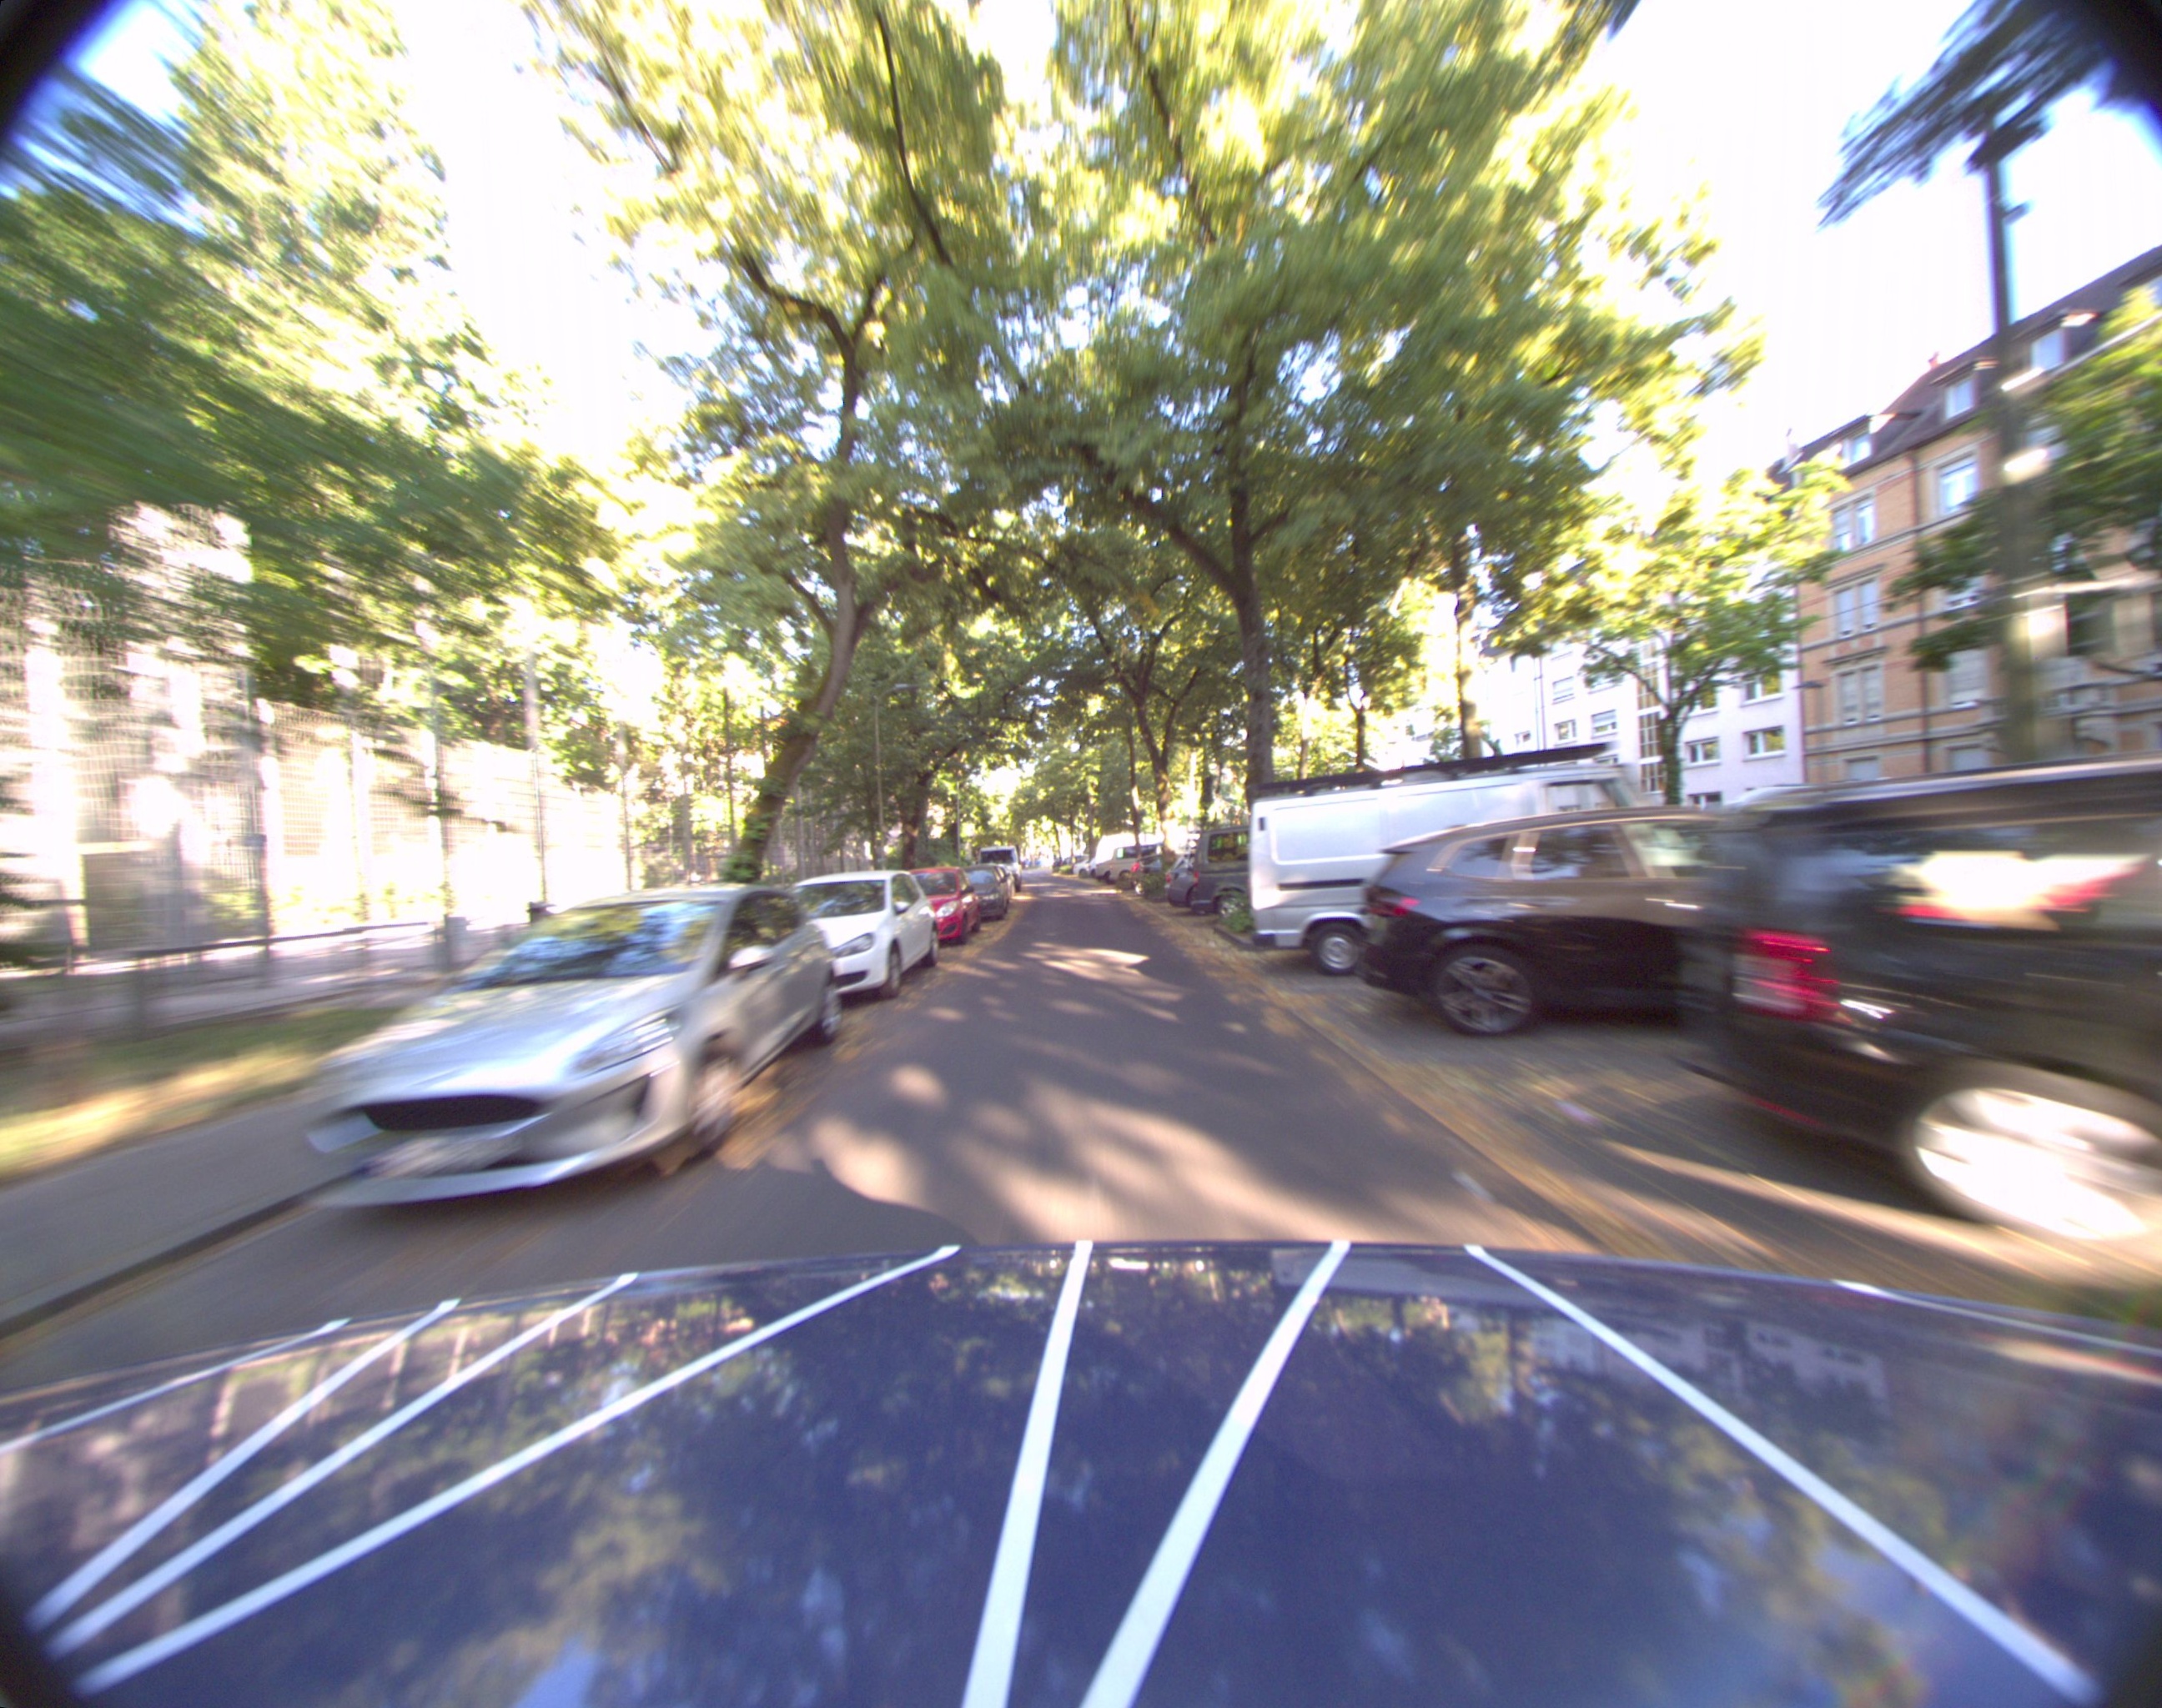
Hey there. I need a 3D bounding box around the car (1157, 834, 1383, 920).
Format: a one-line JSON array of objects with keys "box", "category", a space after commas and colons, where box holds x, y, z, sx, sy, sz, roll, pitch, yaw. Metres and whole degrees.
[{"box": [4.303, 0.552, 17.488, 4.561, 1.532, 1.937, -5, 1, 32], "category": "car"}]

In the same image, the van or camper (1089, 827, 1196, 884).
[{"box": [3.161, 0.091, 39.075, 4.875, 2.456, 2.048, -5, 1, 25], "category": "van or camper"}]

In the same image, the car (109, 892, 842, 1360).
[{"box": [-2.909, 1.119, 4.933, 1.685, 1.445, 4.074, -3, 0, -5], "category": "car"}]

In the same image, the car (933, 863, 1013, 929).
[{"box": [-2.804, 1.055, 20.497, 1.677, 1.445, 3.948, -3, 0, -2], "category": "car"}]

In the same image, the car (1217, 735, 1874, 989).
[{"box": [4.606, 0.243, 8.550, 5.502, 2.125, 2.084, -5, 1, 29], "category": "car"}]

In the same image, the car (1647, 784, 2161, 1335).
[{"box": [4.783, 0.509, 2.431, 4.509, 1.607, 1.857, -5, 1, 31], "category": "car"}]

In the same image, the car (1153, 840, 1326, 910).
[{"box": [4.216, 0.574, 20.333, 4.084, 1.479, 1.786, -5, 1, 30], "category": "car"}]

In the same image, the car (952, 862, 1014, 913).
[{"box": [-3.241, 1.078, 25.735, 1.677, 1.445, 3.948, -3, 0, -2], "category": "car"}]

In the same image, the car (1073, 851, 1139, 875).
[{"box": [1.865, 0.678, 57.278, 4.456, 1.396, 1.859, -5, 0, 24], "category": "car"}]

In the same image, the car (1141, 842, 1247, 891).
[{"box": [4.377, 0.480, 29.413, 3.543, 1.485, 1.828, -5, 1, 28], "category": "car"}]

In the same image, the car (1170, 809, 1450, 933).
[{"box": [4.366, 0.362, 14.726, 4.702, 1.931, 1.937, -5, 1, 32], "category": "car"}]

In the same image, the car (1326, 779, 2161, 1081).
[{"box": [4.359, 0.548, 5.724, 4.510, 1.607, 1.937, -5, 1, 23], "category": "car"}]

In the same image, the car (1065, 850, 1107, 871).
[{"box": [0.466, 0.596, 68.965, 3.347, 1.559, 1.574, -5, 0, 22], "category": "car"}]

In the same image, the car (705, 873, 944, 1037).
[{"box": [-2.971, 1.076, 9.754, 1.685, 1.445, 4.075, -3, 0, -1], "category": "car"}]

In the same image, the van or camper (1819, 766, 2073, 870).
[{"box": [28.612, -1.082, 25.525, 2.080, 3.091, 5.512, -1, 0, -3], "category": "van or camper"}]

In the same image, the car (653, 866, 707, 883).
[{"box": [-35.816, 1.791, 67.901, 4.007, 1.401, 1.795, -1, 0, -37], "category": "car"}]

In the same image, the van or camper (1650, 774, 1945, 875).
[{"box": [19.694, -0.734, 21.295, 5.664, 2.454, 2.003, -2, 1, 23], "category": "van or camper"}]

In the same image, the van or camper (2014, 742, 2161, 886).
[{"box": [20.183, -0.737, 12.561, 5.538, 2.357, 2.311, -2, 1, 26], "category": "van or camper"}]

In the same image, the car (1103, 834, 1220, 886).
[{"box": [3.776, 0.313, 35.801, 4.875, 1.966, 2.048, -5, 1, 27], "category": "car"}]

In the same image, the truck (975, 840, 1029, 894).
[{"box": [-3.872, 0.573, 38.654, 2.302, 2.372, 6.931, -3, 0, -3], "category": "truck"}]

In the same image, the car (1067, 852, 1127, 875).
[{"box": [1.296, 0.714, 60.119, 4.305, 1.396, 1.746, -5, 0, 21], "category": "car"}]

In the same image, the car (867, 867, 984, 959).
[{"box": [-2.948, 1.062, 15.090, 1.595, 1.445, 3.554, -3, 0, -1], "category": "car"}]

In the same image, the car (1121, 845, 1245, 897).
[{"box": [3.597, 0.604, 26.917, 3.815, 1.430, 1.828, -5, 1, 33], "category": "car"}]

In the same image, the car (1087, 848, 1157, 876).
[{"box": [2.747, 0.560, 50.982, 4.235, 1.432, 1.859, -5, 1, 24], "category": "car"}]

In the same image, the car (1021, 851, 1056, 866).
[{"box": [-5.923, 0.583, 105.633, 4.435, 1.613, 1.636, -6, 2, 15], "category": "car"}]

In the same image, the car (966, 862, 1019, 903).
[{"box": [-3.486, 1.099, 30.626, 1.677, 1.389, 4.298, -3, 0, -1], "category": "car"}]

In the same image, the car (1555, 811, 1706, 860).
[{"box": [19.805, -0.644, 27.650, 4.313, 1.573, 1.910, -2, 0, 31], "category": "car"}]
